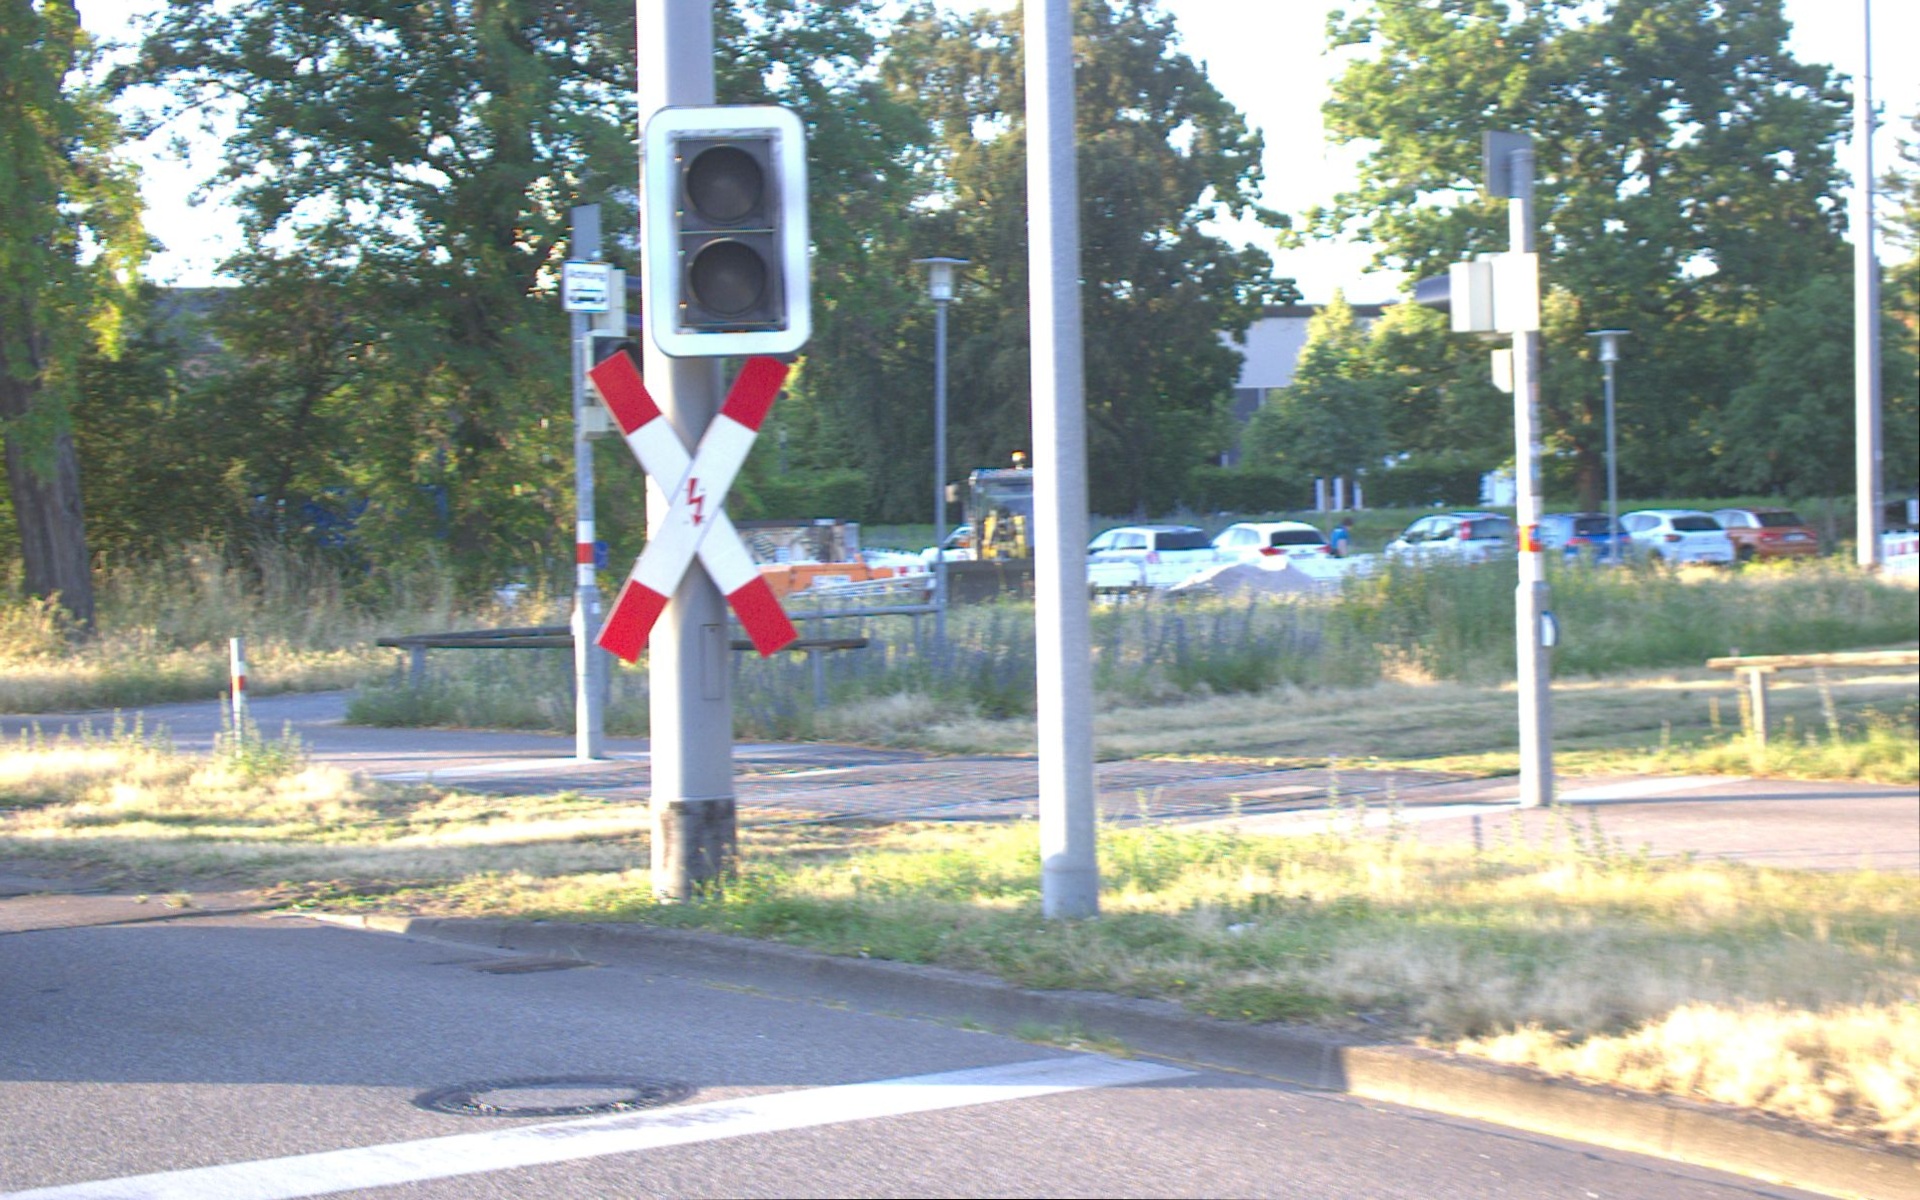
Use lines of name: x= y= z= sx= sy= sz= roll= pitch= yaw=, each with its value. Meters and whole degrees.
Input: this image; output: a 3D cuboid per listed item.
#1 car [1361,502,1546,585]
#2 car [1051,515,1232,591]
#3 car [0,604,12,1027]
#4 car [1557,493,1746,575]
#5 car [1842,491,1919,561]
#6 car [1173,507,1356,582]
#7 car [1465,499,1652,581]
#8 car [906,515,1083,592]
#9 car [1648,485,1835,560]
car: x=10.351 y=-1.182 z=72.407 sx=1.946 sy=1.656 sz=4.001 roll=-2 pitch=1 yaw=-25
car: x=3.634 y=-0.940 z=69.417 sx=1.946 sy=1.440 sz=4.001 roll=-2 pitch=1 yaw=-25
car: x=-5.235 y=0.682 z=12.087 sx=1.952 sy=1.337 sz=4.669 roll=-1 pitch=1 yaw=-39
car: x=14.789 y=-1.405 z=73.718 sx=1.946 sy=1.656 sz=4.001 roll=-2 pitch=1 yaw=-25
car: x=21.742 y=-1.668 z=76.527 sx=1.897 sy=1.548 sz=4.100 roll=-2 pitch=1 yaw=-25
car: x=6.168 y=-1.118 z=70.062 sx=1.946 sy=1.440 sz=4.001 roll=-2 pitch=1 yaw=-25
car: x=12.670 y=-1.269 z=73.015 sx=1.946 sy=1.656 sz=4.001 roll=-2 pitch=1 yaw=-25
car: x=0.651 y=-0.919 z=68.595 sx=1.946 sy=1.440 sz=4.001 roll=-2 pitch=1 yaw=-25
car: x=17.025 y=-1.677 z=75.079 sx=1.897 sy=1.548 sz=4.001 roll=-2 pitch=1 yaw=-25
